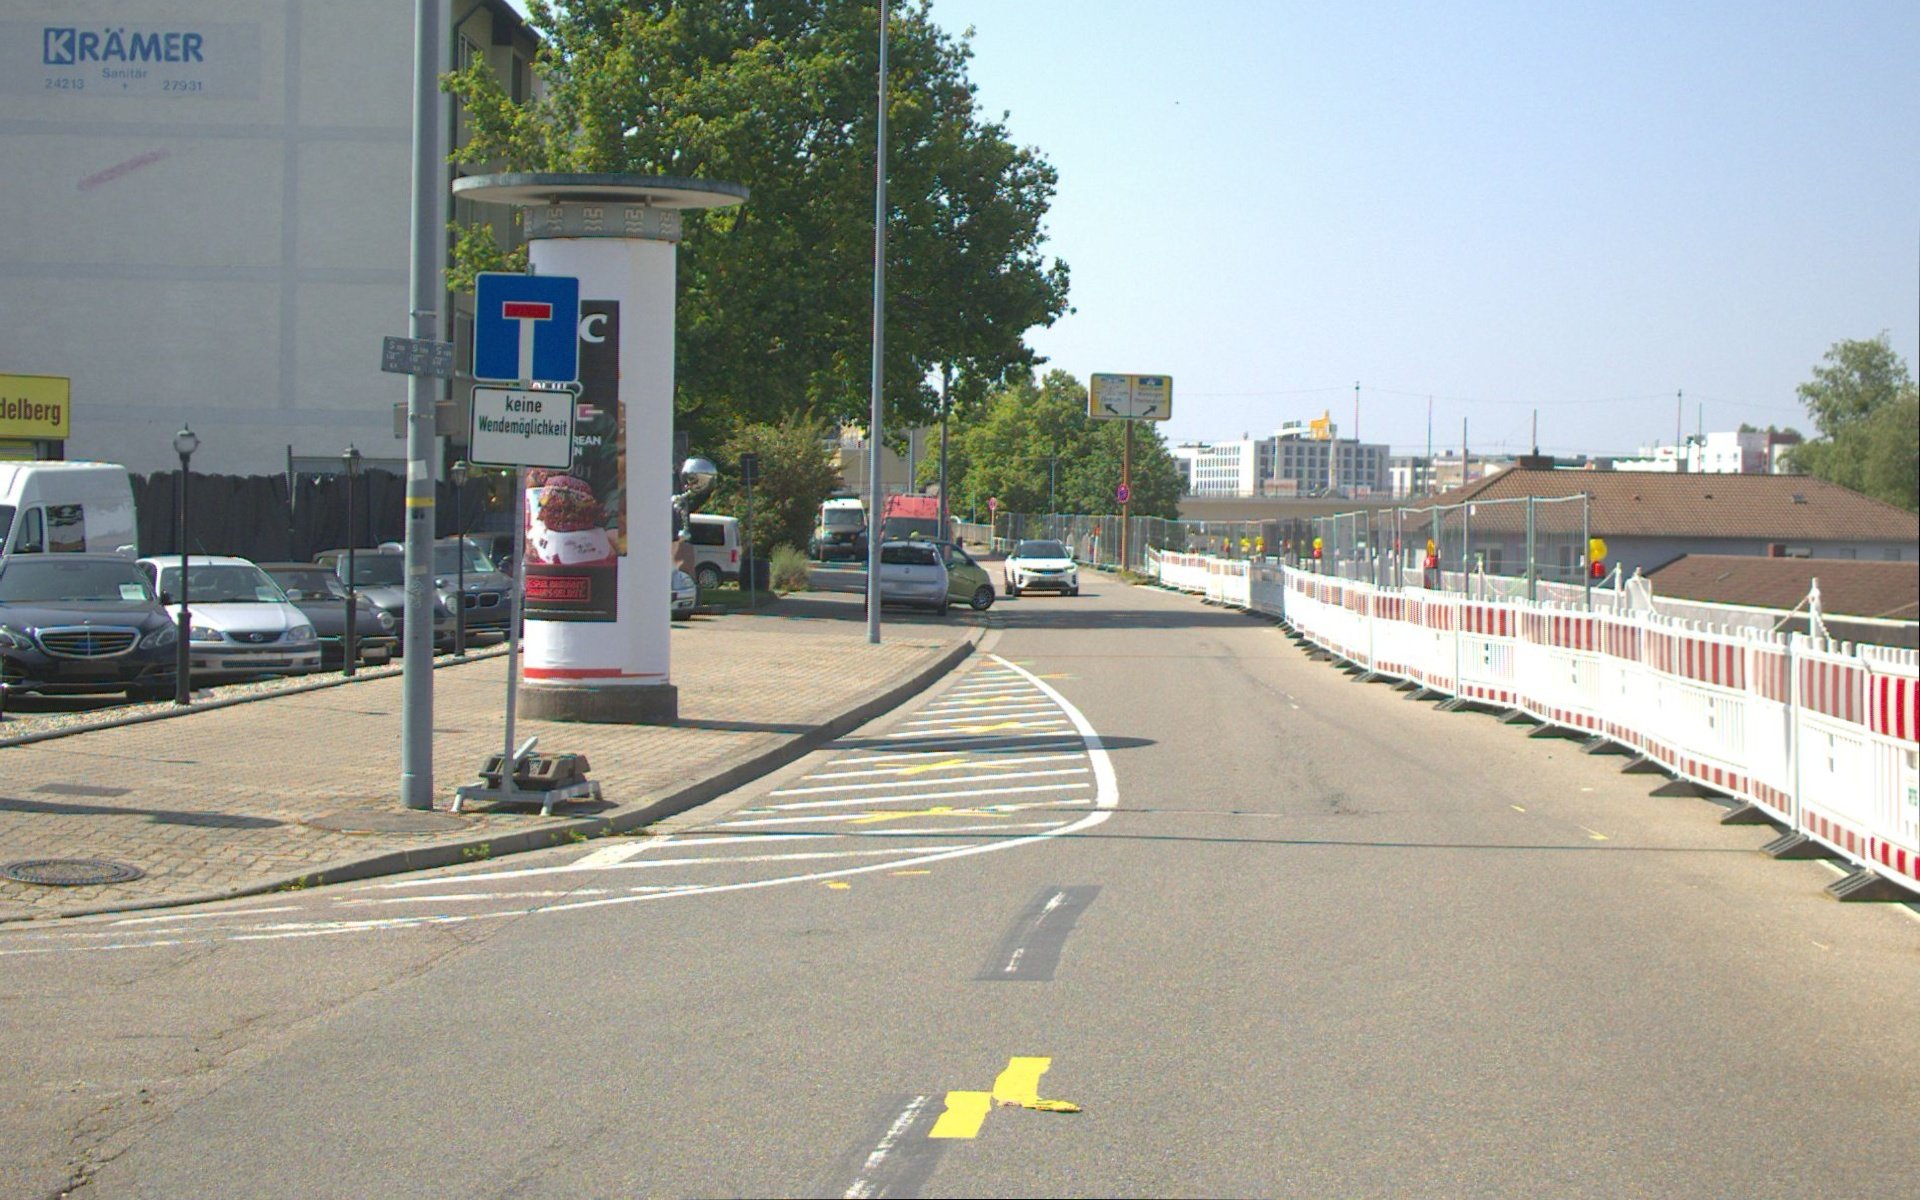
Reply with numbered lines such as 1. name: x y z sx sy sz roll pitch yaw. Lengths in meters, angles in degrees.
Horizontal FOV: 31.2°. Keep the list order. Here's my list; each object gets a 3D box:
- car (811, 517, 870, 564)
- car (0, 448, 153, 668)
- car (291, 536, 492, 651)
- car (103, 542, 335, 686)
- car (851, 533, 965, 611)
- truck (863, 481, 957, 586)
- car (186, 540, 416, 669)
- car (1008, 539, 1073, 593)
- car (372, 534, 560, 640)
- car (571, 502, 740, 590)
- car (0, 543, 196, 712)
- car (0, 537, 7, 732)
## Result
1. car: -5.121 -2.536 147.499 1.937 1.828 3.923 4 0 5
2. car: -11.499 -0.532 40.334 2.246 2.422 5.718 4 0 4
3. car: -7.840 -0.112 47.142 1.667 1.468 4.001 -2 1 -25
4. car: -8.331 0.133 38.400 1.779 1.468 4.001 -2 1 -23
5. car: -1.033 -0.600 70.267 1.869 1.493 4.031 0 2 6
6. truck: -1.270 -1.695 89.742 2.238 2.639 5.681 1 0 1
7. car: -8.176 0.034 42.432 1.667 1.468 4.001 -2 2 -28
8. car: 2.171 -0.919 93.526 1.717 1.411 4.078 1 0 1
9. car: -7.465 -0.208 51.666 1.667 1.468 4.001 -2 1 -25
10. car: -7.295 -1.291 82.517 3.922 1.952 1.759 2 1 -4
11. car: -8.535 0.219 32.902 1.835 1.468 4.001 -2 1 -20
12. car: -8.751 0.274 27.416 1.835 1.468 4.001 -2 1 -20
